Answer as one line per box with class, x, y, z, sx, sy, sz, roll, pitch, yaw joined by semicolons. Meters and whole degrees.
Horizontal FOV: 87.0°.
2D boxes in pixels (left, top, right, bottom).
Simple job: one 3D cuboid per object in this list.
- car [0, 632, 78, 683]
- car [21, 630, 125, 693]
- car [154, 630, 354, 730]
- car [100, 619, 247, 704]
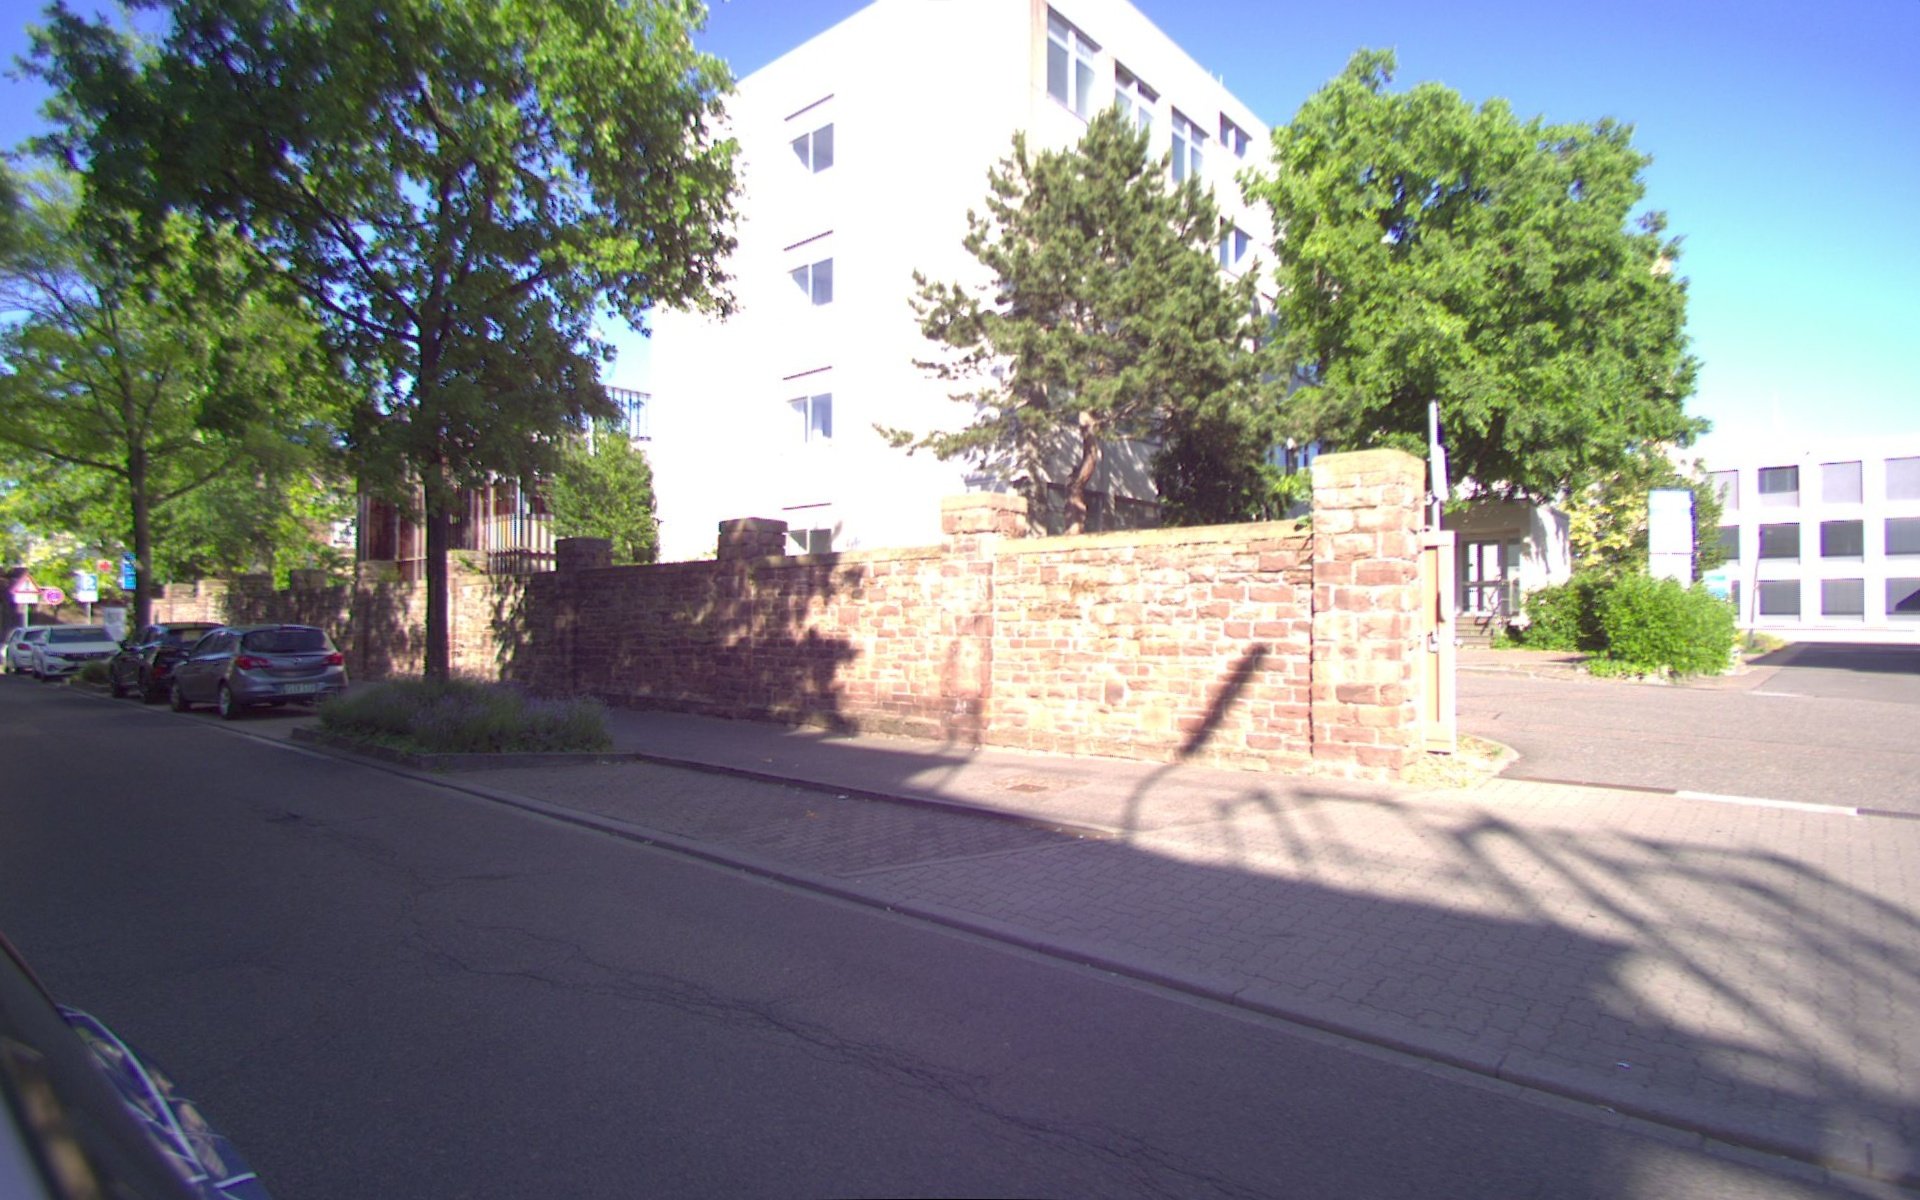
car;-29.462;1.776;32.178;3.748;1.412;1.558;-1;2;40
car;-24.440;1.634;27.840;3.848;1.522;1.659;-1;1;42
car;-11.972;1.256;17.092;3.832;1.432;1.671;-1;0;37
car;-15.893;1.173;20.385;4.042;1.526;1.557;-1;-1;41
